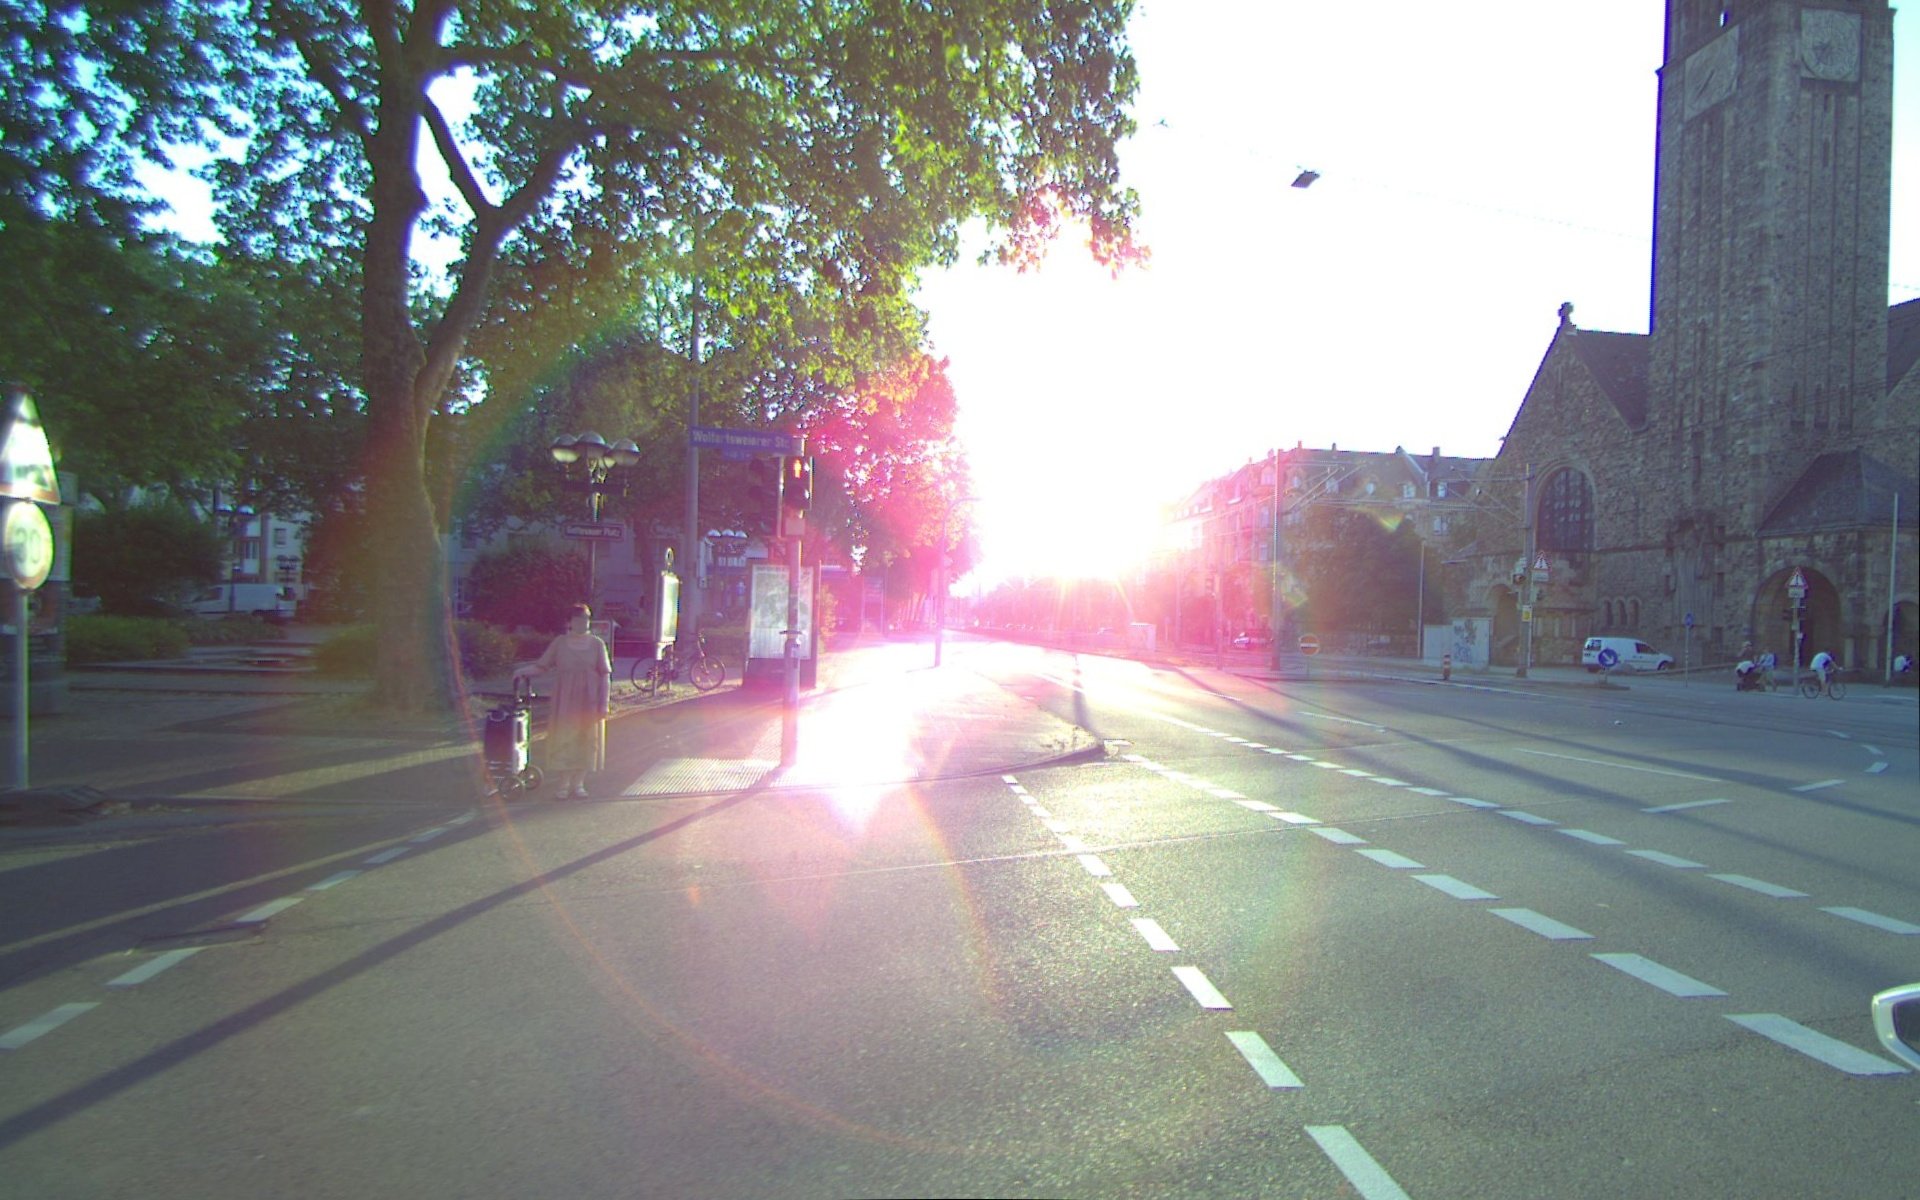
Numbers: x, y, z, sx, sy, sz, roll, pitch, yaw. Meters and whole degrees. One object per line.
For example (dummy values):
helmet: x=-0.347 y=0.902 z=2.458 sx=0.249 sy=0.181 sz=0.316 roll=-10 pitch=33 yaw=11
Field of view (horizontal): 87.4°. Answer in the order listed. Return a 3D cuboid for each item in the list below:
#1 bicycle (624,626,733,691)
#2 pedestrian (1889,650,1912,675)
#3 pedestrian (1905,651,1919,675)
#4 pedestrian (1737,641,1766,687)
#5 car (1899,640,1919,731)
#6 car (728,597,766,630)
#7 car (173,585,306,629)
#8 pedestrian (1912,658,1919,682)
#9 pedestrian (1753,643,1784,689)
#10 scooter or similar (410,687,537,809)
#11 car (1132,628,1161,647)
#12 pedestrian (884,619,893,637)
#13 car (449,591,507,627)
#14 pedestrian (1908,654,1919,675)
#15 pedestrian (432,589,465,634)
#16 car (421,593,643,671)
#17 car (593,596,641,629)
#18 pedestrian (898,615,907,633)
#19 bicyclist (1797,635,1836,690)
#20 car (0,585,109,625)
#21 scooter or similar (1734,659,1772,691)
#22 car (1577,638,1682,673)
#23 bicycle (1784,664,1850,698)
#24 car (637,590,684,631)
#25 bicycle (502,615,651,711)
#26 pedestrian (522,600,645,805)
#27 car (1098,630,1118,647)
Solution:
bicycle: x=-5.002 y=1.048 z=17.900 sx=1.779 sy=1.107 sz=0.455 roll=3 pitch=-1 yaw=-32
pedestrian: x=39.922 y=2.650 z=42.649 sx=0.471 sy=0.973 sz=0.522 roll=3 pitch=0 yaw=-10
pedestrian: x=39.977 y=2.645 z=41.967 sx=0.471 sy=0.973 sz=0.522 roll=3 pitch=0 yaw=-10
pedestrian: x=30.624 y=2.468 z=38.864 sx=0.593 sy=1.721 sz=0.633 roll=3 pitch=0 yaw=-18
car: x=19.036 y=1.554 z=17.977 sx=4.712 sy=1.578 sz=1.985 roll=2 pitch=-2 yaw=-30
car: x=-13.340 y=0.833 z=63.111 sx=1.882 sy=1.873 sz=3.996 roll=3 pitch=-1 yaw=-6
car: x=-33.317 y=0.344 z=46.575 sx=4.556 sy=1.964 sz=1.997 roll=0 pitch=-2 yaw=-9
pedestrian: x=40.910 y=2.979 z=42.649 sx=0.513 sy=0.973 sz=0.479 roll=3 pitch=0 yaw=1
pedestrian: x=30.784 y=2.511 z=38.249 sx=0.593 sy=1.721 sz=0.633 roll=3 pitch=0 yaw=-18
scooter or similar: x=-4.055 y=1.202 z=8.368 sx=0.843 sy=0.909 sz=0.587 roll=3 pitch=0 yaw=-34
car: x=21.889 y=4.366 z=118.018 sx=1.964 sy=2.040 sz=3.993 roll=3 pitch=-1 yaw=-9
pedestrian: x=-8.400 y=3.283 z=118.030 sx=0.837 sy=2.040 sz=0.712 roll=3 pitch=0 yaw=-9
car: x=-29.517 y=0.523 z=61.605 sx=1.963 sy=2.040 sz=3.995 roll=3 pitch=-1 yaw=-7
pedestrian: x=47.291 y=3.199 z=49.618 sx=0.703 sy=0.973 sz=0.548 roll=3 pitch=0 yaw=-36
pedestrian: x=-19.880 y=0.454 z=39.049 sx=0.869 sy=1.694 sz=0.740 roll=3 pitch=0 yaw=-7
car: x=-10.295 y=0.794 z=24.469 sx=4.551 sy=1.805 sz=1.999 roll=0 pitch=-2 yaw=-4
car: x=-21.218 y=0.751 z=62.243 sx=1.882 sy=1.873 sz=3.996 roll=3 pitch=-1 yaw=-6
pedestrian: x=-6.777 y=2.828 z=118.081 sx=0.837 sy=2.040 sz=0.712 roll=3 pitch=0 yaw=-9
bicyclist: x=30.038 y=2.184 z=35.220 sx=0.846 sy=1.851 sz=0.656 roll=2 pitch=0 yaw=-19
car: x=-43.612 y=0.262 z=47.562 sx=4.577 sy=1.834 sz=1.992 roll=1 pitch=-2 yaw=-19
scooter or similar: x=29.980 y=2.842 z=37.988 sx=1.061 sy=1.118 sz=0.633 roll=3 pitch=0 yaw=-18
car: x=34.561 y=2.845 z=51.877 sx=4.371 sy=1.537 sz=1.718 roll=3 pitch=0 yaw=-5
bicycle: x=30.050 y=2.844 z=35.212 sx=2.209 sy=1.092 sz=0.656 roll=3 pitch=0 yaw=-17
car: x=-18.576 y=0.635 z=62.444 sx=1.963 sy=2.374 sz=3.996 roll=3 pitch=-1 yaw=-6
bicycle: x=-5.666 y=0.947 z=14.883 sx=1.967 sy=1.344 sz=0.524 roll=3 pitch=0 yaw=-25
pedestrian: x=-3.266 y=0.848 z=8.692 sx=0.766 sy=1.649 sz=0.797 roll=3 pitch=0 yaw=-34
car: x=19.697 y=5.155 z=133.774 sx=1.961 sy=2.040 sz=3.999 roll=3 pitch=-1 yaw=-2
